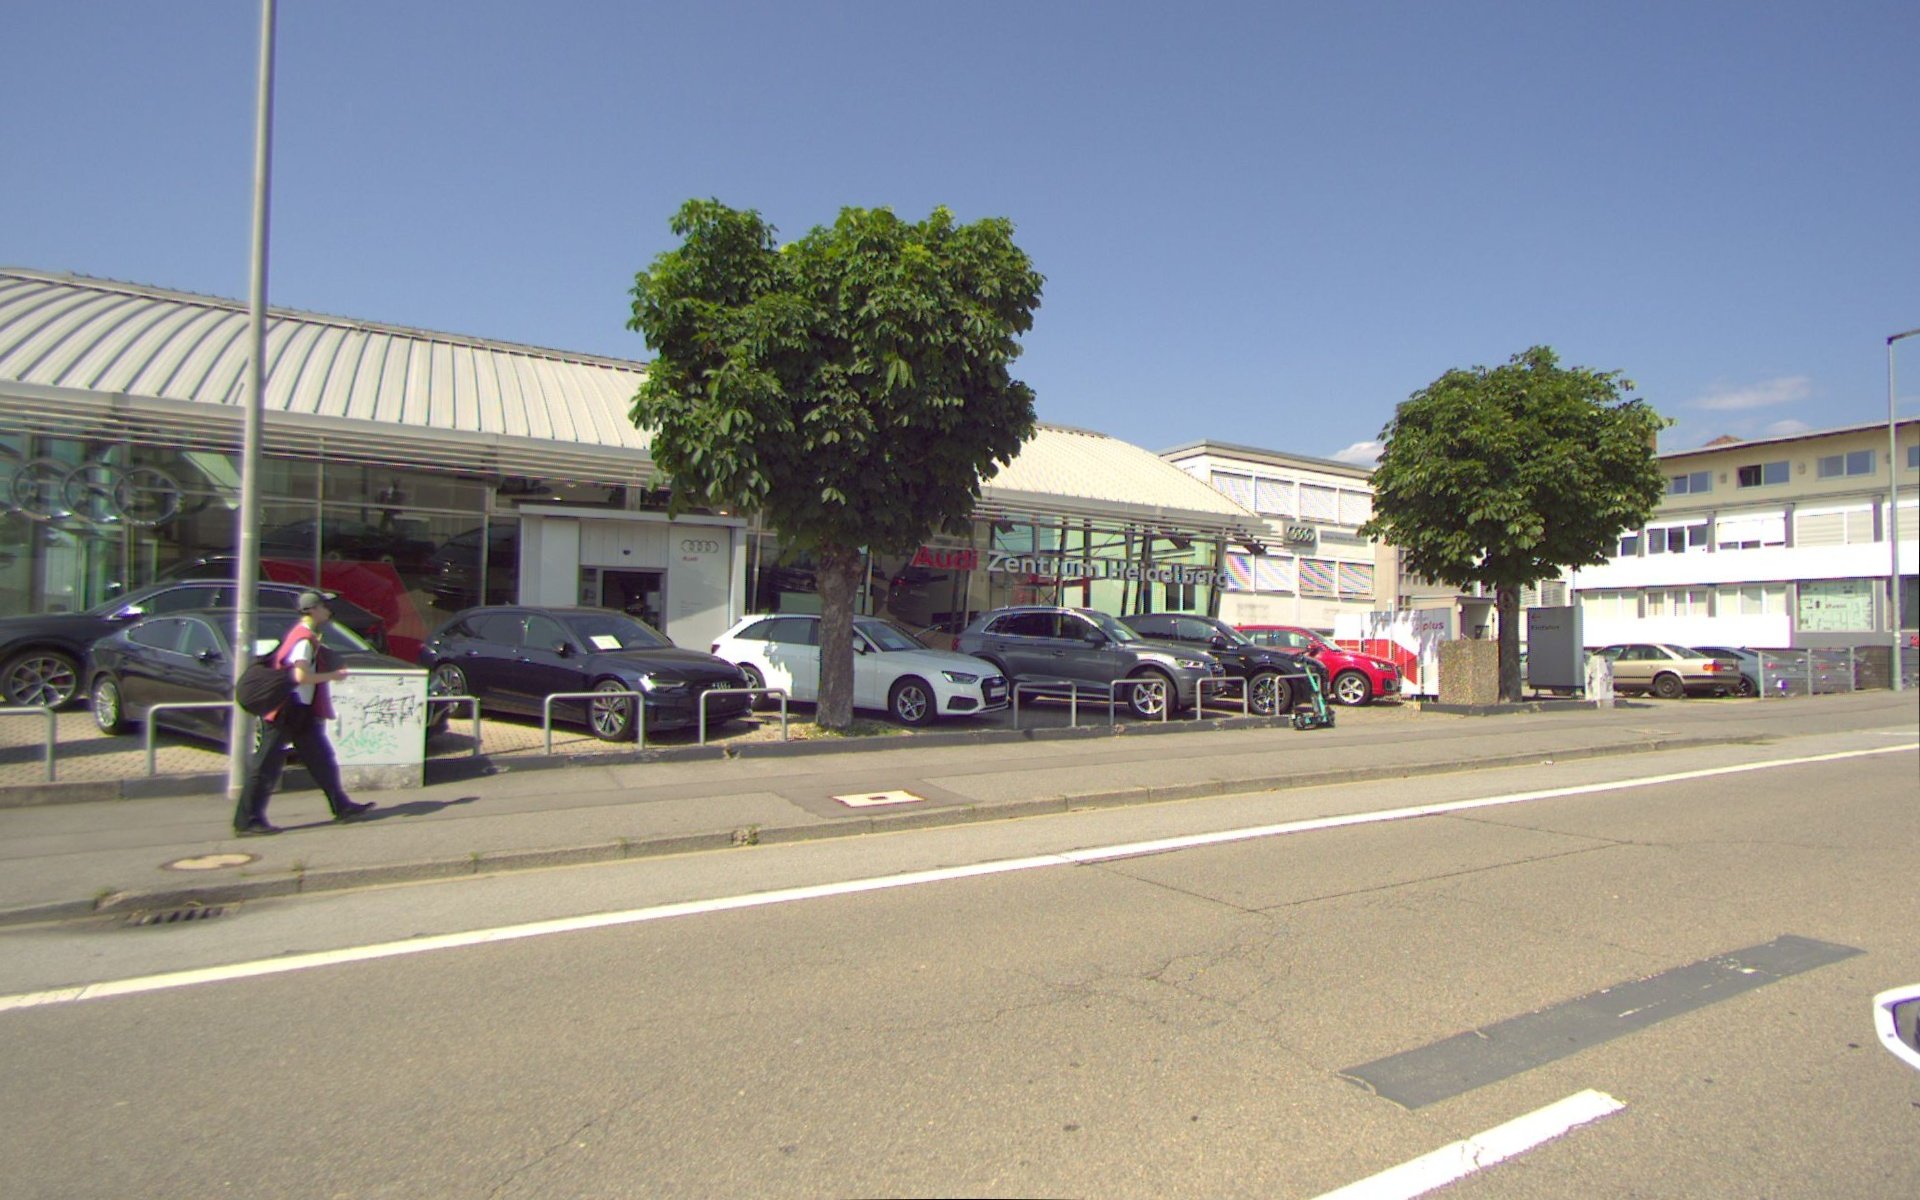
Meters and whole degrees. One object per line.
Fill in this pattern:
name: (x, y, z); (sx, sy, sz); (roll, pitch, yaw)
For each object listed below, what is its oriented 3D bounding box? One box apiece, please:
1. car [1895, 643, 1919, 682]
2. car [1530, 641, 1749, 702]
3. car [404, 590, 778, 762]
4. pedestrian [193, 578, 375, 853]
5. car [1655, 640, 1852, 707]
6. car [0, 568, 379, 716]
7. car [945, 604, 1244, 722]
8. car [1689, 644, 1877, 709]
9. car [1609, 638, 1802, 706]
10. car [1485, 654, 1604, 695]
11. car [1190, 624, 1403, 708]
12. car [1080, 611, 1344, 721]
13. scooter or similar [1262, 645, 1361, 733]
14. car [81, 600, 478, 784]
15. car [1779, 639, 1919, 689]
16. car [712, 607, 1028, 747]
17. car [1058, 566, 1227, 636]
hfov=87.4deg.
car: (38.052, 2.326, 37.144); (2.024, 1.500, 4.717); (2, -3, -30)
car: (18.012, 1.838, 26.858); (1.879, 1.476, 4.502); (2, -3, -31)
car: (-4.704, 0.815, 12.775); (4.398, 1.631, 1.963); (3, 4, 25)
pedestrian: (-4.994, 0.820, 7.507); (1.035, 1.892, 0.729); (1, -3, -30)
car: (22.453, 2.046, 28.582); (1.839, 1.462, 3.965); (4, 0, -31)
car: (-10.972, 0.536, 13.897); (1.973, 1.742, 4.703); (3, 0, 45)
car: (2.186, 0.954, 16.431); (4.494, 1.719, 1.858); (0, -2, 25)
car: (24.632, 2.276, 30.202); (1.840, 1.510, 3.963); (4, 0, -33)
car: (20.480, 1.948, 27.739); (1.804, 1.463, 3.867); (4, 0, -33)
car: (24.562, 3.089, 42.332); (1.838, 1.566, 3.968); (2, -2, -30)
car: (6.988, 1.313, 20.912); (3.929, 1.570, 1.856); (0, -2, 30)
car: (4.619, 1.130, 18.472); (4.396, 1.730, 1.909); (1, -1, 25)
scooter or similar: (5.348, 1.316, 15.267); (1.477, 1.264, 0.738); (2, -2, -38)
car: (-7.369, 0.829, 10.833); (4.085, 1.479, 1.905); (3, 2, 29)
car: (30.730, 2.134, 33.982); (1.974, 1.579, 4.272); (2, -3, -33)
car: (-1.316, 1.013, 14.611); (4.124, 1.515, 1.873); (4, 1, 25)
car: (4.788, 0.070, 26.470); (3.935, 1.706, 1.993); (1, -2, -17)
